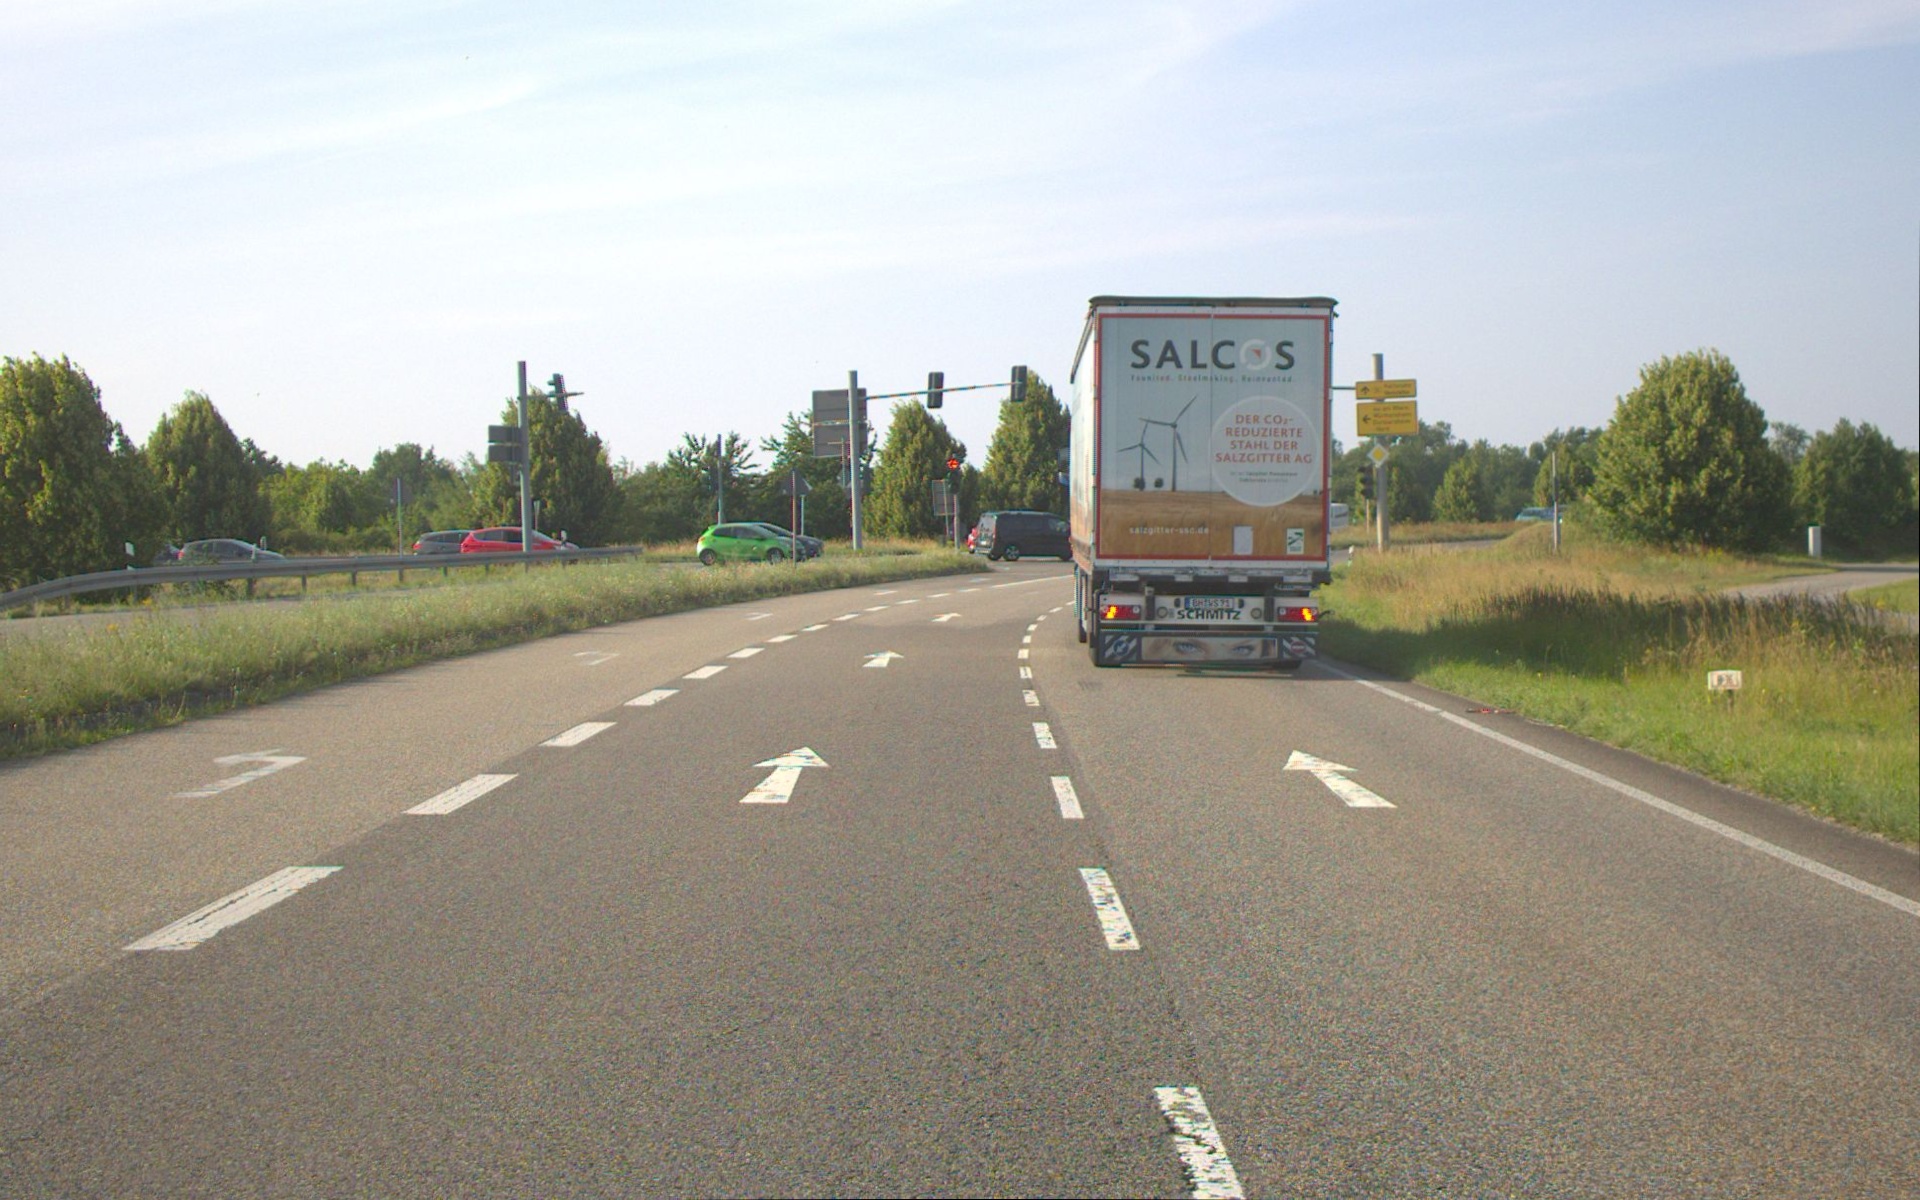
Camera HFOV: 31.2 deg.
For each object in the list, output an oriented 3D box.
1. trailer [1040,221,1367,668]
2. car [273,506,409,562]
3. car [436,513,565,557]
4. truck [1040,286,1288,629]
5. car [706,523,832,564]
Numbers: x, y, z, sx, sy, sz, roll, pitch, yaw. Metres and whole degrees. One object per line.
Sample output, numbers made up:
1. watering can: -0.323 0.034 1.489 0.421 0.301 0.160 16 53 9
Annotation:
1. trailer: 2.699 -1.818 42.543 3.281 4.665 13.148 0 2 1
2. car: -22.515 -2.393 125.141 4.460 2.007 1.999 1 0 11
3. car: -16.625 -2.356 124.484 4.265 1.559 1.901 1 0 7
4. truck: 2.829 -1.999 49.562 3.300 4.641 5.732 0 1 1
5. car: -6.762 -2.006 122.299 4.421 1.412 1.920 0 0 -2
